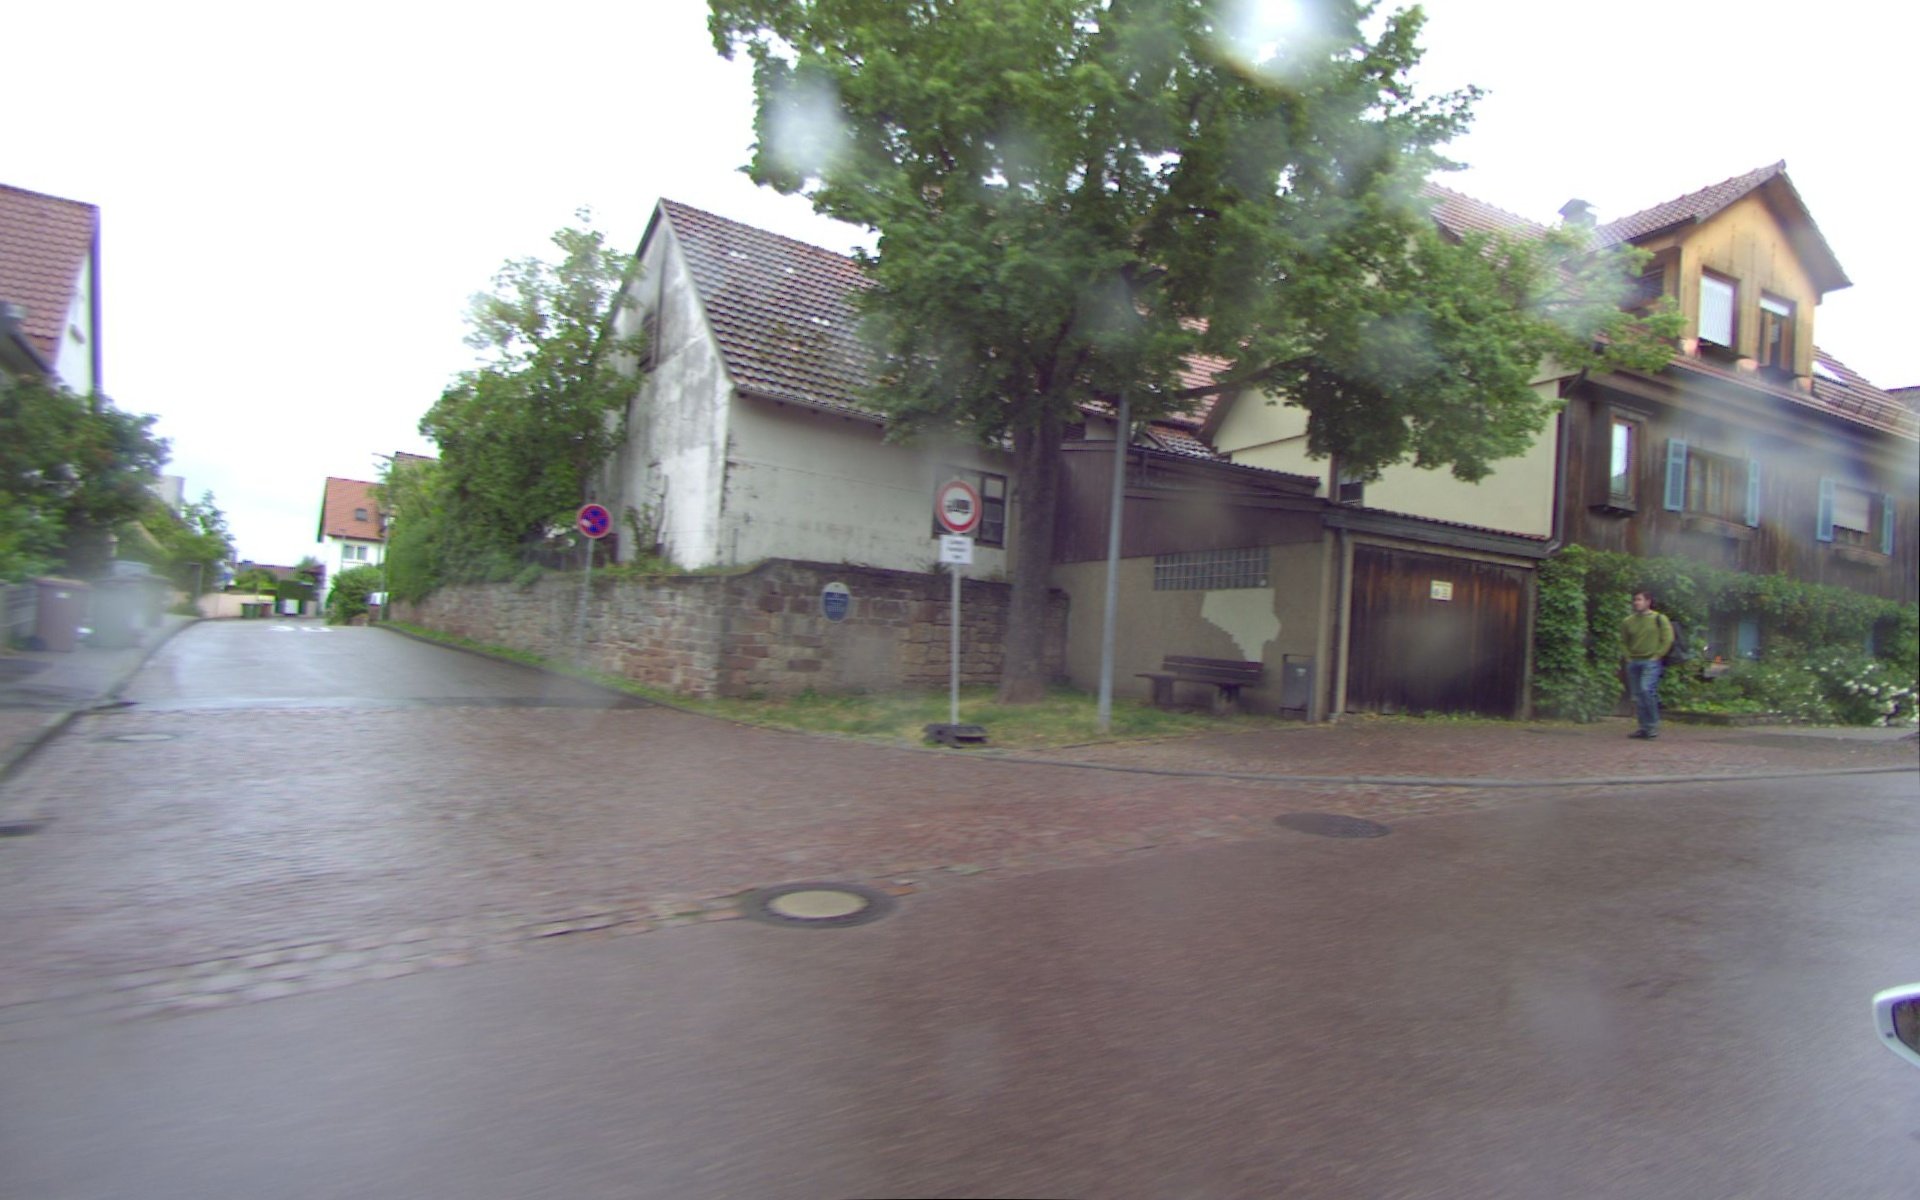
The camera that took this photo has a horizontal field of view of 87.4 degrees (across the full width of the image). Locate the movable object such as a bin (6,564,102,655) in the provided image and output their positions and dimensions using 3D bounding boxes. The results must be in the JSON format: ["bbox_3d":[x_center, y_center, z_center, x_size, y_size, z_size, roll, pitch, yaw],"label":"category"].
[{"bbox_3d":[-13.592,0.147,15.101,0.871,1.255,0.746,8,-4,-36],"label":"movable object such as a bin"}]

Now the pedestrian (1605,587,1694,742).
[{"bbox_3d":[8.853,0.801,12.892,0.785,1.893,0.911,1,-1,42],"label":"pedestrian"}]

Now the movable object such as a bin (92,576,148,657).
[{"bbox_3d":[-13.657,0.268,16.332,0.626,1.266,0.627,4,-2,-41],"label":"movable object such as a bin"}]

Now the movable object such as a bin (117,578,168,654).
[{"bbox_3d":[-13.983,0.275,17.182,0.598,1.254,0.677,4,-2,-41],"label":"movable object such as a bin"}]

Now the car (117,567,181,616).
[{"bbox_3d":[-34.137,-0.354,42.315,1.983,1.919,3.955,2,-1,-39],"label":"car"}]
